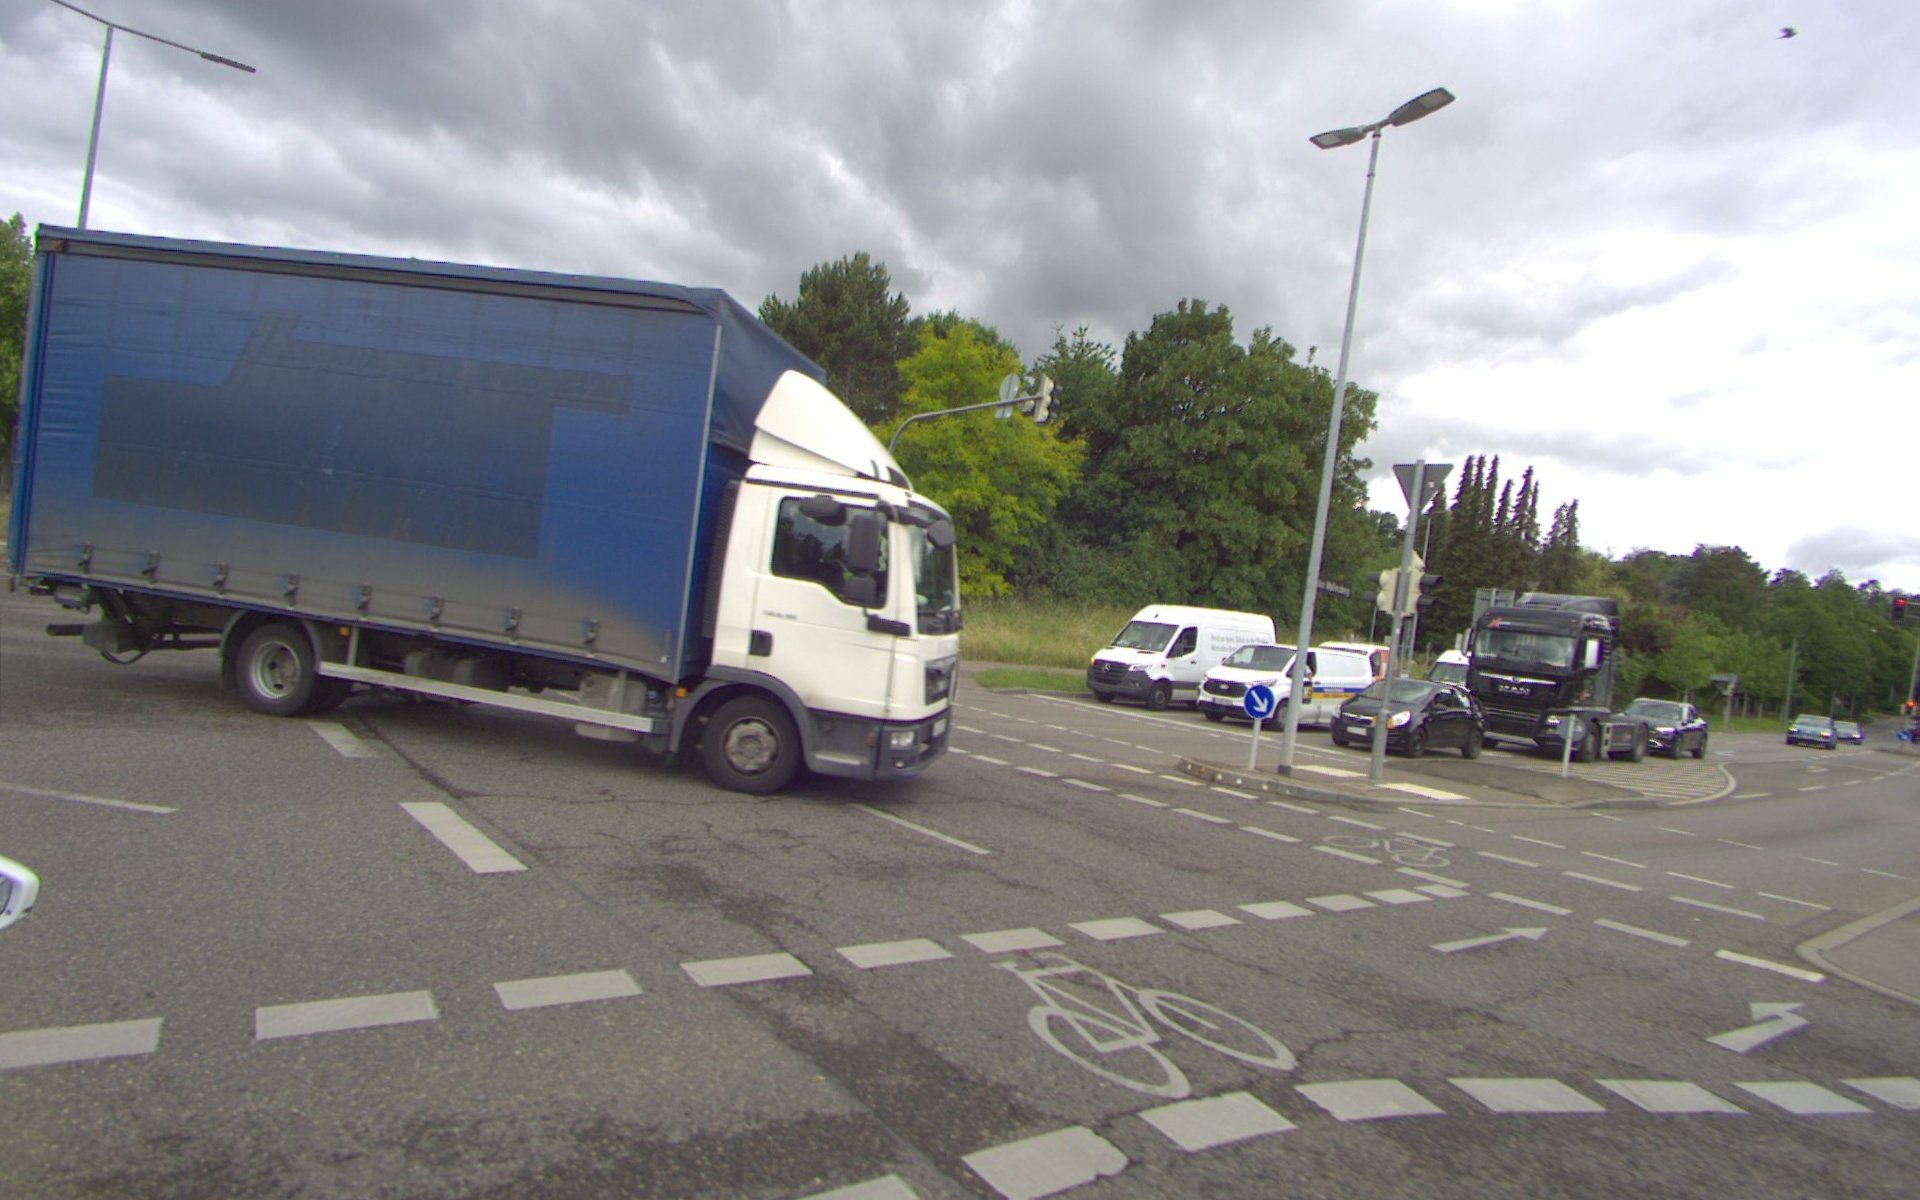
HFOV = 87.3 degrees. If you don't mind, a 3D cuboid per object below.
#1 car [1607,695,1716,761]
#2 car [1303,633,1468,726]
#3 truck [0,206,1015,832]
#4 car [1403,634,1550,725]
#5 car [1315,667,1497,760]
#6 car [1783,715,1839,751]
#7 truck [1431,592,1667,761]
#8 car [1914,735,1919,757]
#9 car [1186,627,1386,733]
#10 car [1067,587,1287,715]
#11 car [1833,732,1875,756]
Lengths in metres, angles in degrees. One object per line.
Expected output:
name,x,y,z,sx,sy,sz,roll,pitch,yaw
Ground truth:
car,21.103,3.860,30.203,3.840,1.595,1.731,8,0,-42
car,13.784,2.606,32.385,5.914,2.414,2.205,8,-1,-39
truck,-3.965,-0.791,9.020,8.229,3.851,2.789,7,0,10
car,19.185,3.006,37.186,6.637,2.753,2.204,8,-1,-40
car,8.885,2.274,19.927,3.837,1.459,1.618,8,0,-39
car,45.272,7.073,53.486,3.840,1.595,1.617,8,0,-42
truck,14.831,1.981,25.168,5.917,3.560,3.041,7,-1,-40
car,76.356,11.590,79.188,3.844,1.638,1.615,8,0,-45
car,7.684,1.912,23.447,4.953,2.014,2.097,8,-2,-42
car,5.729,1.391,26.059,5.917,2.690,2.203,8,-1,-40
car,60.787,9.810,68.370,3.840,1.309,1.617,8,0,-42
